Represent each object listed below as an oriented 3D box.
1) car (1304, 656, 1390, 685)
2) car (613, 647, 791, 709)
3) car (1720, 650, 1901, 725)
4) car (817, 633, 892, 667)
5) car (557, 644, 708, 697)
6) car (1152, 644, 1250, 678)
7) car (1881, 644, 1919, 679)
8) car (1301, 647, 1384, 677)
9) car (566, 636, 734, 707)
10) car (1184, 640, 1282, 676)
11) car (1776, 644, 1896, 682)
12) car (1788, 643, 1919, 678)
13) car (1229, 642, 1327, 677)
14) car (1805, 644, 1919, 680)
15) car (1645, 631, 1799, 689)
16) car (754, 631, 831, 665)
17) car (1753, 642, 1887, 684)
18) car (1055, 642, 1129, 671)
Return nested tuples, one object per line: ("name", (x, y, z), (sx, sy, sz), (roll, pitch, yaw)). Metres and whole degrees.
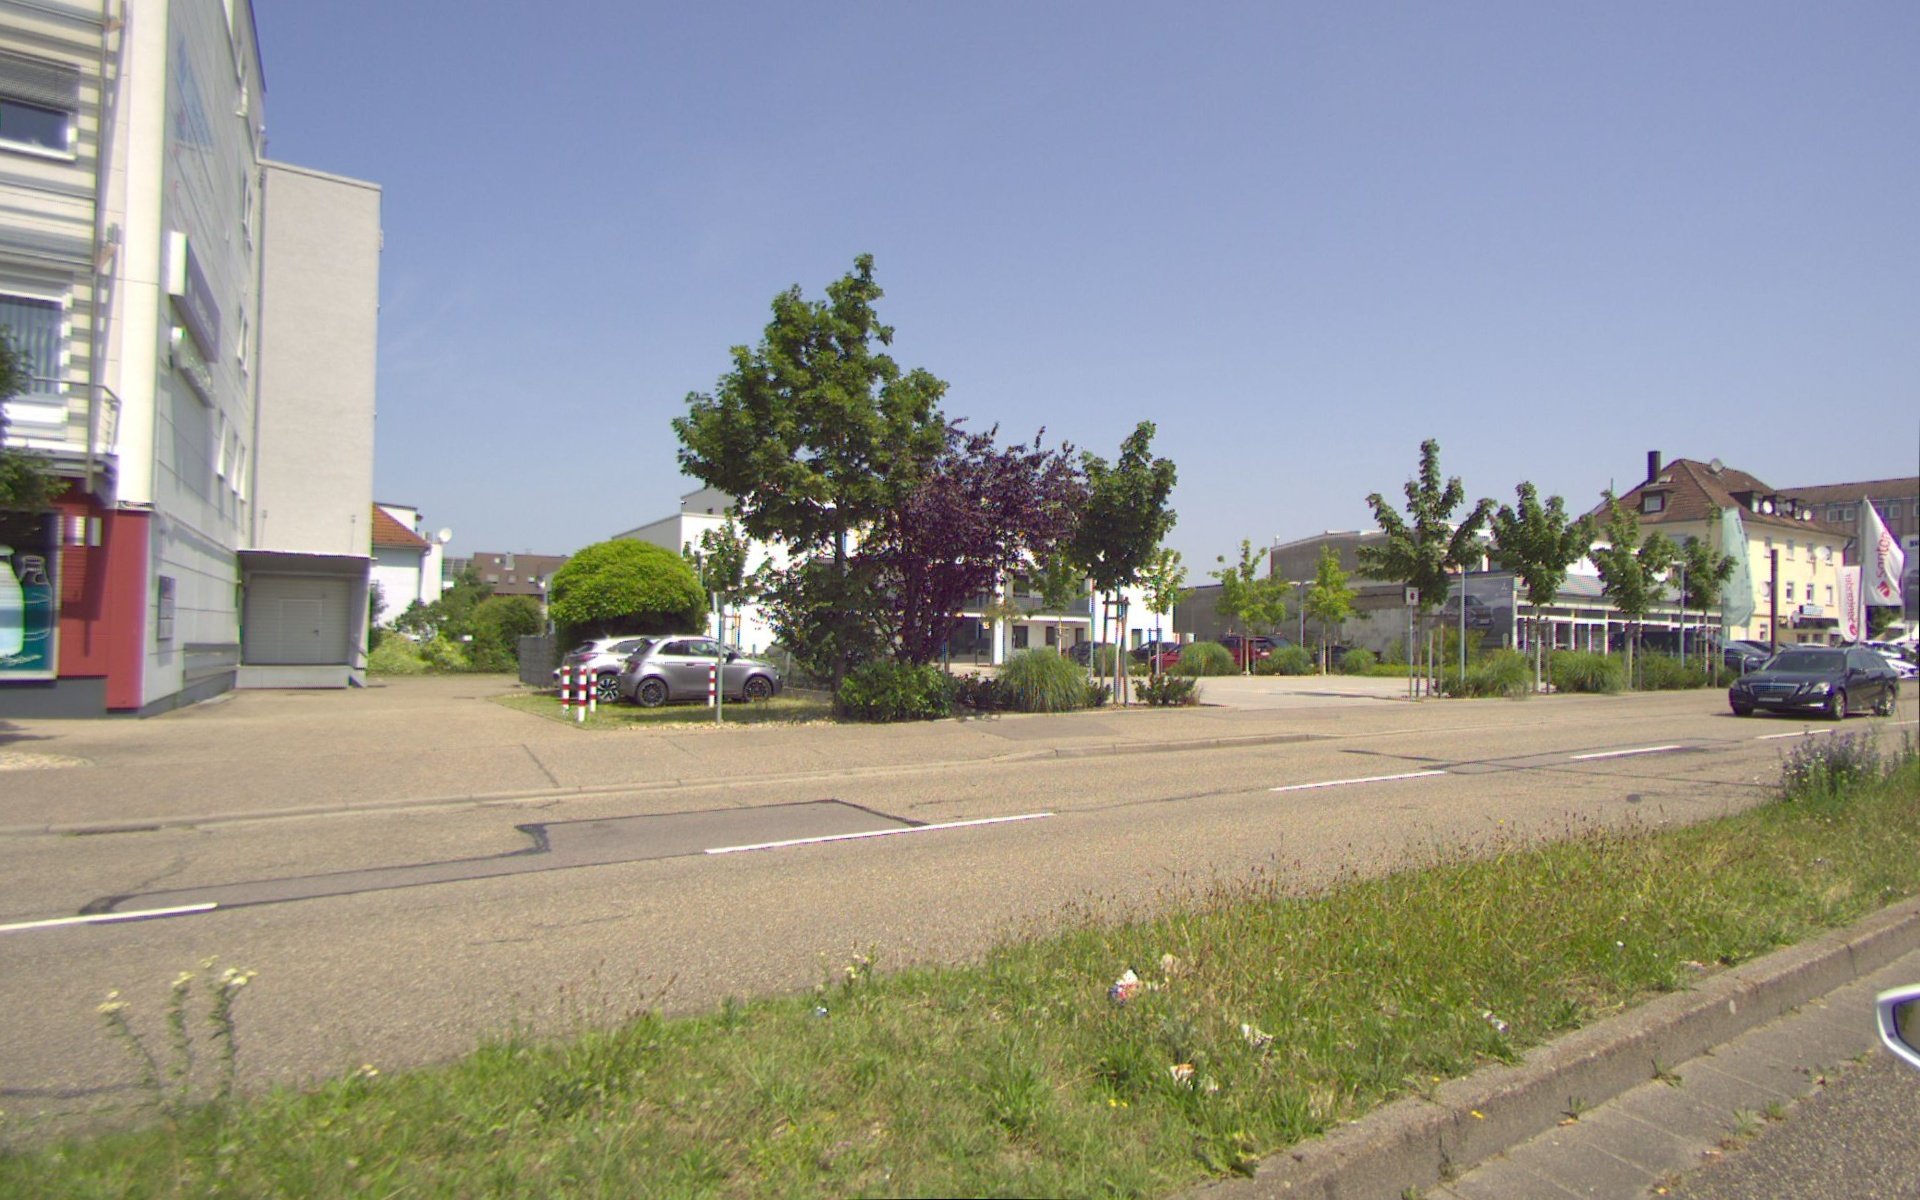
("car", (18.550, 3.358, 48.311), (1.630, 1.261, 3.695), (2, -2, -30))
("car", (-5.677, 1.678, 22.172), (3.513, 1.248, 1.546), (2, -2, -30))
("car", (18.828, 1.869, 22.186), (4.662, 1.480, 1.817), (2, -3, -33))
("car", (-5.040, 2.345, 47.556), (1.860, 1.472, 3.961), (2, -2, -35))
("car", (-9.325, 1.967, 28.619), (3.787, 1.402, 1.912), (2, -2, -29))
("car", (10.367, 2.590, 43.398), (1.828, 1.331, 3.962), (2, -2, -34))
("car", (50.030, 3.146, 51.015), (1.741, 1.732, 4.521), (2, -3, -32))
("car", (17.498, 2.808, 46.082), (1.701, 1.240, 3.524), (2, -2, -20))
("car", (-7.269, 1.640, 23.600), (3.513, 1.538, 1.546), (2, -2, -30))
("car", (12.093, 2.539, 44.756), (1.860, 1.472, 3.961), (2, -2, -35))
("car", (41.284, 2.946, 47.439), (3.925, 1.645, 1.758), (0, -2, 26))
("car", (38.834, 2.597, 43.730), (1.840, 1.413, 3.965), (2, -2, -32))
("car", (14.414, 2.660, 45.688), (1.860, 1.472, 3.961), (2, -2, -35))
("car", (40.652, 2.758, 45.004), (1.741, 1.486, 3.965), (2, -2, -32))
("car", (27.158, 2.092, 35.910), (1.978, 1.906, 3.965), (2, -2, -32))
("car", (-7.708, 2.174, 46.110), (1.862, 1.472, 3.958), (2, -2, -37))
("car", (36.320, 2.616, 42.524), (1.905, 1.629, 3.965), (2, -2, -32))
("car", (7.242, 3.105, 55.334), (1.860, 1.472, 3.961), (2, -2, -35))
